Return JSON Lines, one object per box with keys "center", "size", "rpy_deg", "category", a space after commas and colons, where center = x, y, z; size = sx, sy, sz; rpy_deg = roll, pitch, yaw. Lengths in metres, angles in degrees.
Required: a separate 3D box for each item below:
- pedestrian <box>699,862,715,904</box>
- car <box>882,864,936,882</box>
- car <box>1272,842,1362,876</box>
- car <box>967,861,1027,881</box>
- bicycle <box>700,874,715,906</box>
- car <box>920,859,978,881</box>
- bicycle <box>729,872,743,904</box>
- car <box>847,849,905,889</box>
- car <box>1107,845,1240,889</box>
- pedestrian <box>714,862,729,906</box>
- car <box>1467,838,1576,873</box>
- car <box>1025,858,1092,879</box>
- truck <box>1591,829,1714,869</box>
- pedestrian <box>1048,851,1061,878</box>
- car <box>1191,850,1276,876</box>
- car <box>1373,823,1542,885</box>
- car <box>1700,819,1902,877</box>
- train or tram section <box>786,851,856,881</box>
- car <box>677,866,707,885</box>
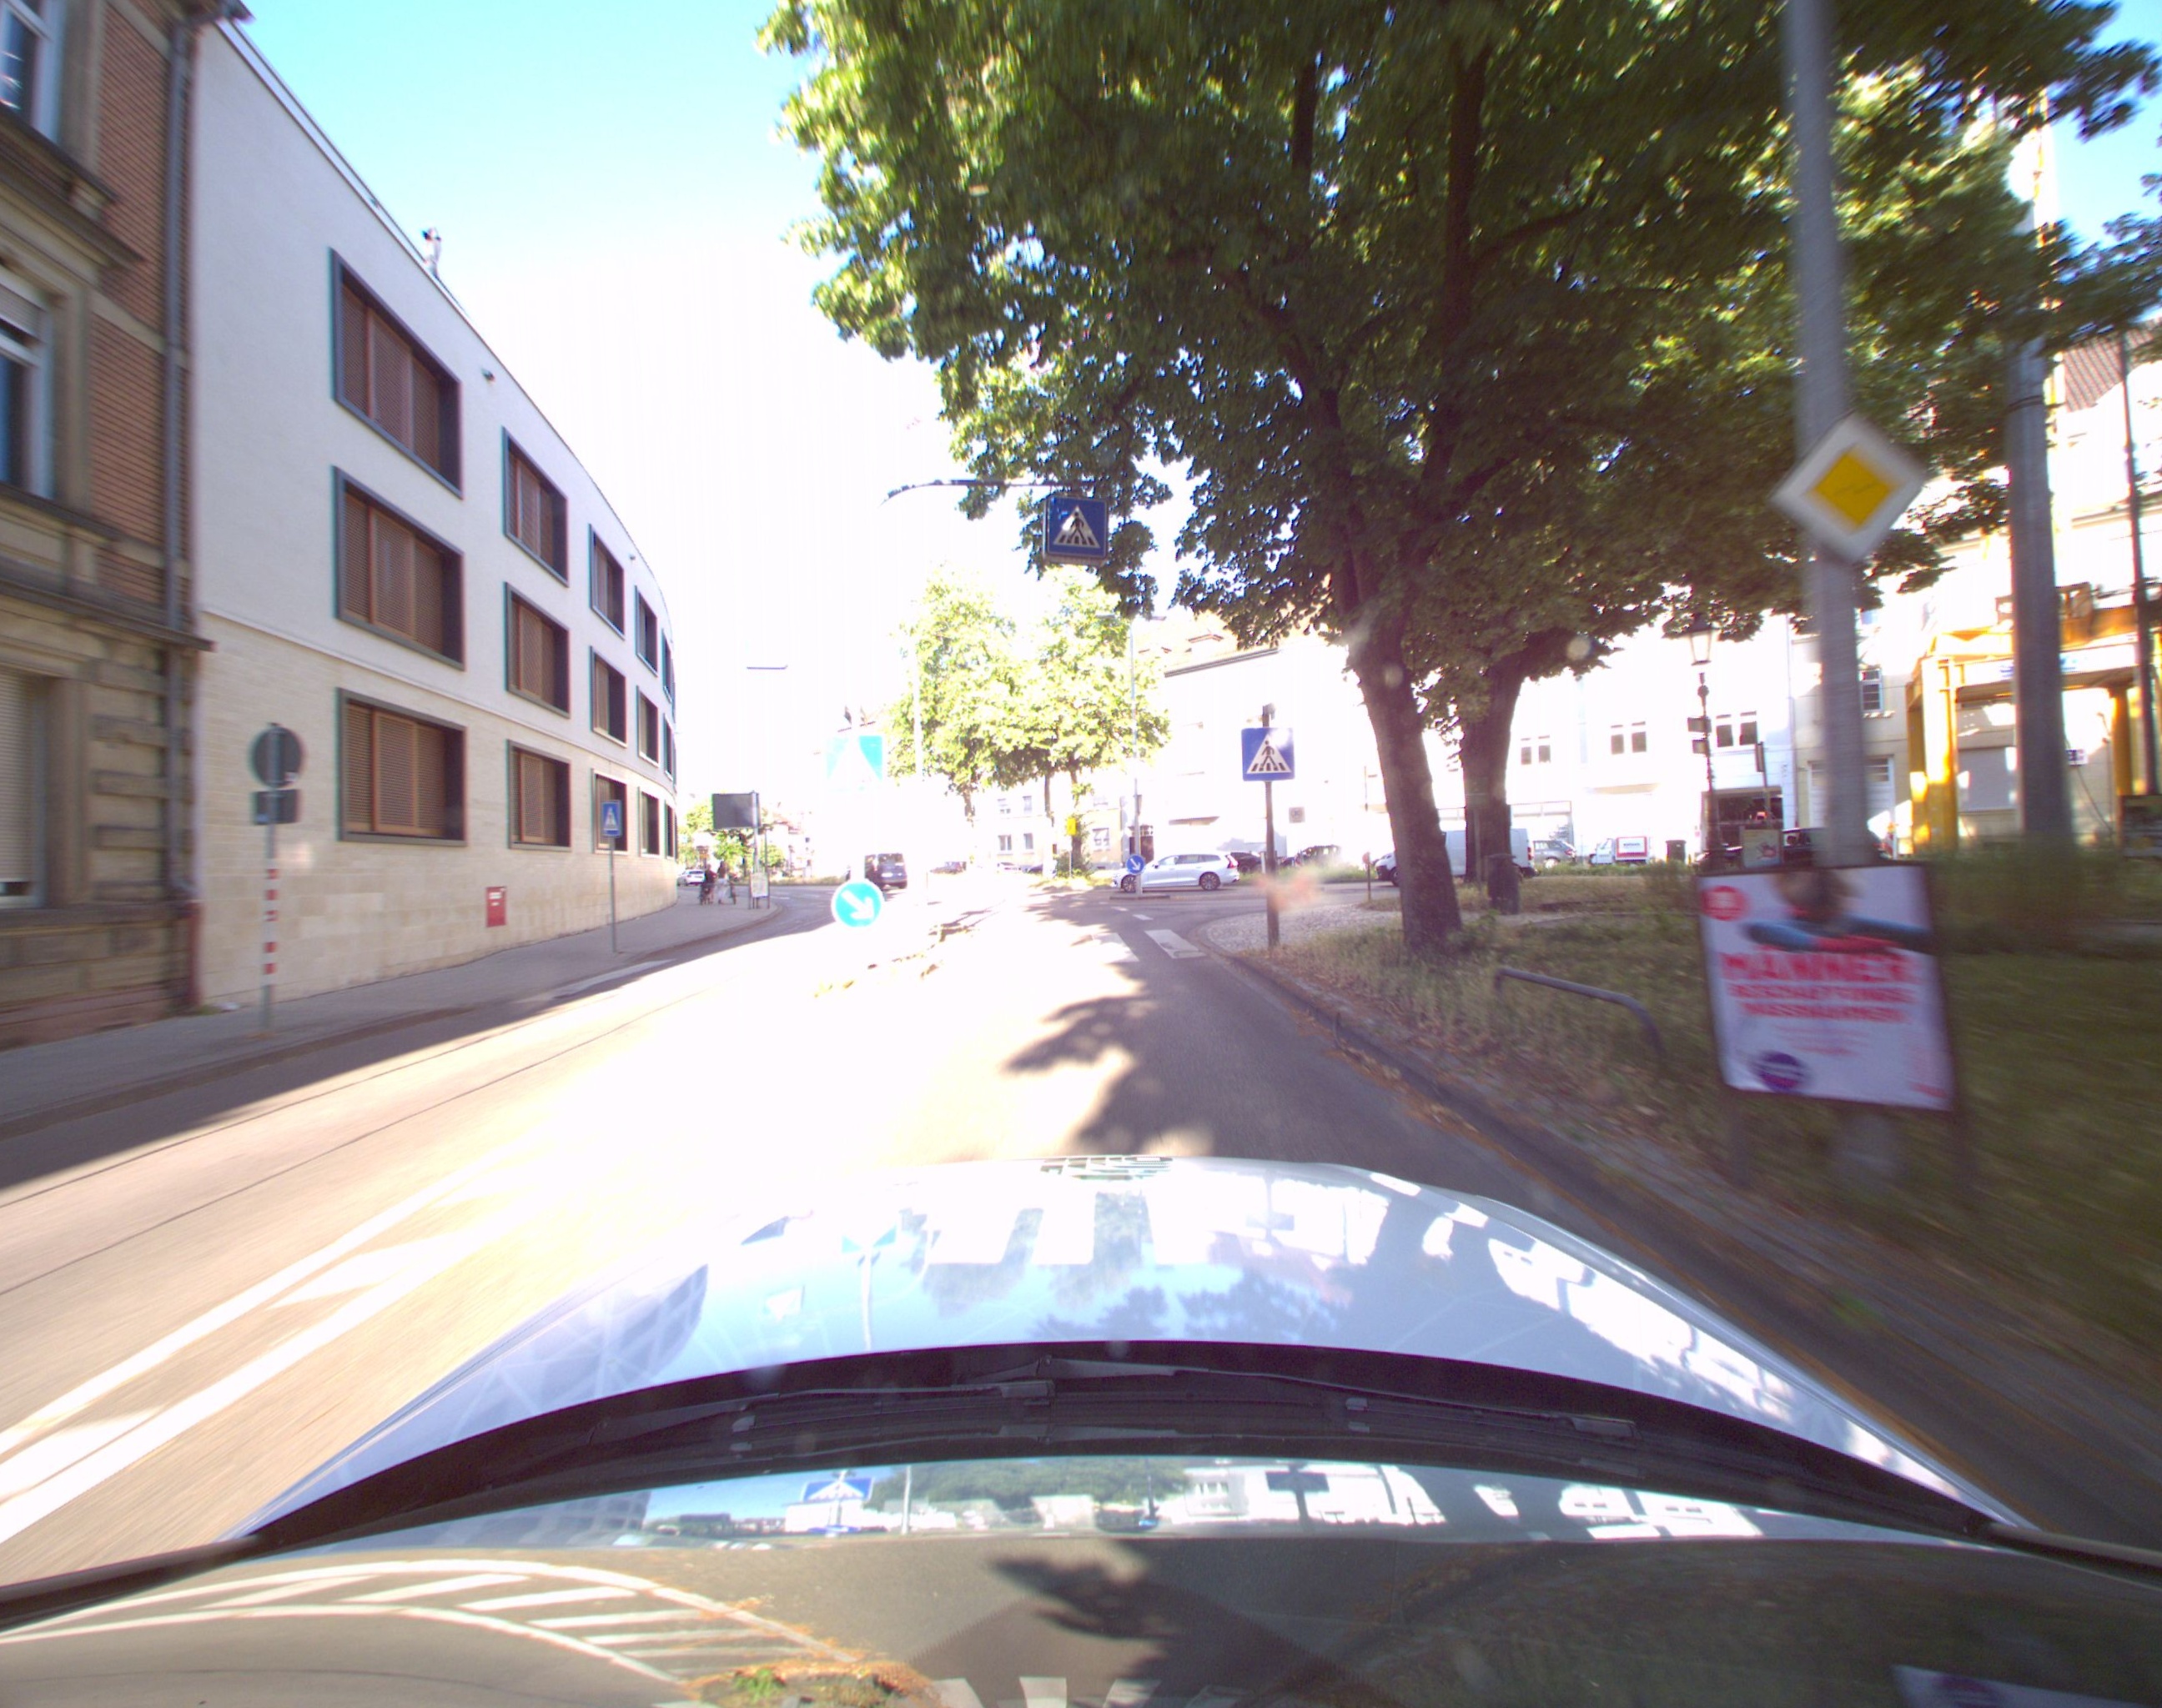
{"center": [-14.440, 1.102, 31.457], "size": [0.476, 1.565, 0.598], "rpy_deg": [-3, 0, -24], "category": "pedestrian"}
{"center": [-14.379, 1.624, 68.036], "size": [4.388, 1.386, 2.013], "rpy_deg": [-2, 0, 38], "category": "car"}
{"center": [12.687, 0.279, 43.892], "size": [4.155, 1.749, 2.013], "rpy_deg": [-1, 0, 41], "category": "car"}
{"center": [-6.308, 1.249, 60.833], "size": [4.389, 1.386, 2.013], "rpy_deg": [-1, 0, 41], "category": "car"}
{"center": [-14.447, 1.384, 31.541], "size": [0.377, 1.167, 1.824], "rpy_deg": [2, -2, -21], "category": "bicycle"}
{"center": [-10.501, 1.276, 64.592], "size": [4.581, 1.572, 2.013], "rpy_deg": [-3, -1, 41], "category": "car"}
{"center": [-13.441, 1.309, 31.695], "size": [0.442, 1.178, 1.951], "rpy_deg": [0, 0, -24], "category": "bicycle"}
{"center": [-10.998, 0.777, 43.455], "size": [2.006, 2.014, 3.962], "rpy_deg": [0, -1, -30], "category": "car"}
{"center": [3.475, 0.469, 30.349], "size": [4.725, 1.463, 1.861], "rpy_deg": [-2, 0, 12], "category": "car"}
{"center": [-13.970, 1.163, 31.652], "size": [0.476, 1.647, 0.598], "rpy_deg": [-2, 0, -24], "category": "pedestrian"}
{"center": [20.152, 0.081, 37.321], "size": [4.044, 1.452, 2.013], "rpy_deg": [-1, 0, 41], "category": "car"}
{"center": [-1.569, 1.018, 56.245], "size": [4.389, 1.386, 2.013], "rpy_deg": [-1, 0, 41], "category": "car"}
{"center": [24.069, -0.198, 34.372], "size": [4.044, 1.585, 2.013], "rpy_deg": [-1, 0, 41], "category": "truck"}
{"center": [-2.008, 0.781, 61.280], "size": [0.641, 2.014, 0.617], "rpy_deg": [-3, -1, 41], "category": "pedestrian"}
{"center": [8.813, 0.540, 47.188], "size": [4.389, 1.386, 2.013], "rpy_deg": [-1, 0, 41], "category": "car"}
{"center": [12.350, 0.027, 26.882], "size": [4.841, 1.854, 2.012], "rpy_deg": [-2, 0, 26], "category": "car"}
{"center": [19.696, -0.138, 22.456], "size": [4.020, 1.444, 2.012], "rpy_deg": [-1, 0, 42], "category": "car"}
{"center": [-32.904, 1.459, 103.530], "size": [2.752, 3.555, 9.971], "rpy_deg": [-2, -1, 21], "category": "train or tram section"}
{"center": [-34.432, 1.891, 72.083], "size": [1.972, 1.505, 3.648], "rpy_deg": [-3, 0, -31], "category": "car"}
